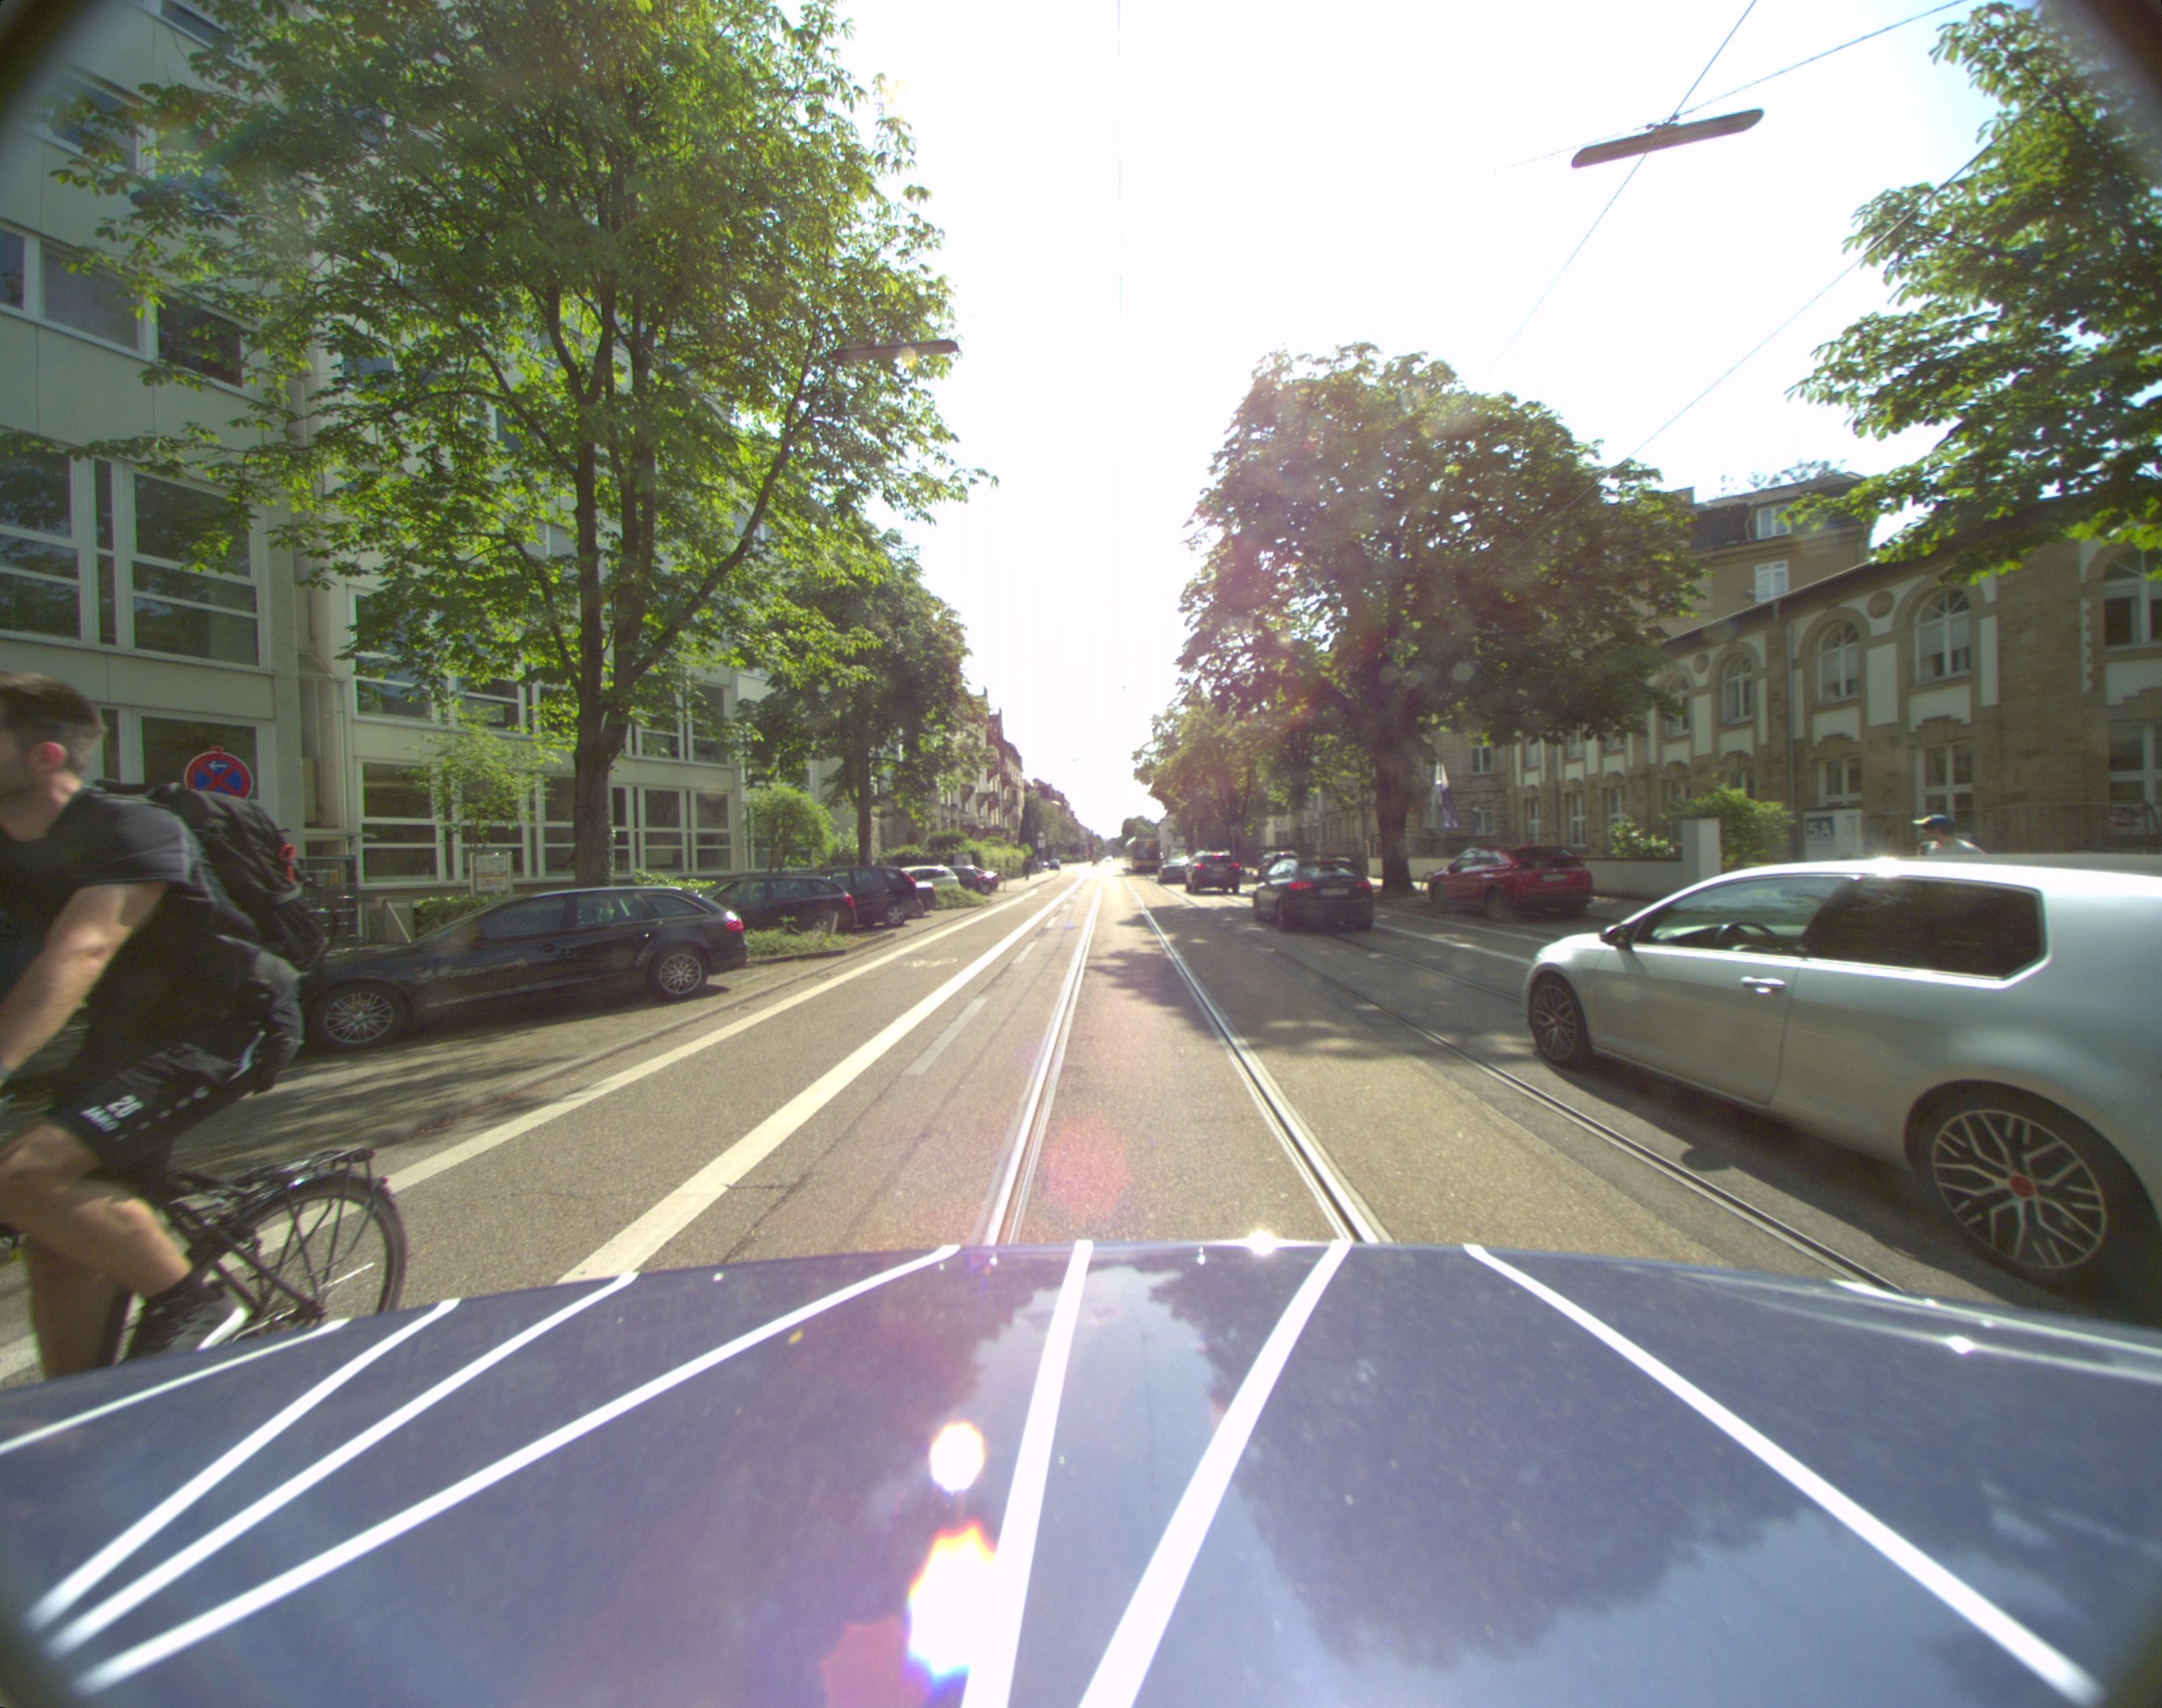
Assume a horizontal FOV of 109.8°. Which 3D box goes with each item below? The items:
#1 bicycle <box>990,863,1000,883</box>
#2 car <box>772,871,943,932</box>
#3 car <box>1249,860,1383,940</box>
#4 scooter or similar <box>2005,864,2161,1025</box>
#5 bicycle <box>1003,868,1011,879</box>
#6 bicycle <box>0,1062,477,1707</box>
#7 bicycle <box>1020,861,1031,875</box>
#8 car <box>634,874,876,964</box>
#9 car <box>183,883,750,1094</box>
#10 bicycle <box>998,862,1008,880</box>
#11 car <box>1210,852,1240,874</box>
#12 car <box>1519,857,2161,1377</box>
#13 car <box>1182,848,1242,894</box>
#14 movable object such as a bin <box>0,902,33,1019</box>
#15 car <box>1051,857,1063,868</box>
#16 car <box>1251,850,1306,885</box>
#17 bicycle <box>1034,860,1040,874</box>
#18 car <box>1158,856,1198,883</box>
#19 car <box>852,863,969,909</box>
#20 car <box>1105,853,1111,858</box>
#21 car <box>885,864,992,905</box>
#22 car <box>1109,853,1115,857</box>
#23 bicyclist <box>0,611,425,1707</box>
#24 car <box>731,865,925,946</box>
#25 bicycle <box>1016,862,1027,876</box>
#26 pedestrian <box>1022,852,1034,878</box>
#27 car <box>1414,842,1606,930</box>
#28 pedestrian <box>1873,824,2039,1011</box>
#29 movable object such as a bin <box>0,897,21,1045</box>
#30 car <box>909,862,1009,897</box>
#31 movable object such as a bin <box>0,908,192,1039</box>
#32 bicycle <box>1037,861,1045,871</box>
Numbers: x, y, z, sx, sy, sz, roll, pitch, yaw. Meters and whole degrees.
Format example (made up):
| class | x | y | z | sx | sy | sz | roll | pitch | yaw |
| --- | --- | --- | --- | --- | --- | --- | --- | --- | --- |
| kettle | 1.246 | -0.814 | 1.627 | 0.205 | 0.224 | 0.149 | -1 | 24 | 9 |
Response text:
| class | x | y | z | sx | sy | sz | roll | pitch | yaw |
| --- | --- | --- | --- | --- | --- | --- | --- | --- | --- |
| bicycle | -5.049 | 1.082 | 44.580 | 0.280 | 1.102 | 2.011 | 2 | 1 | 2 |
| car | -6.270 | 1.287 | 21.571 | 4.183 | 1.341 | 1.900 | -3 | 0 | -43 |
| car | 4.691 | 0.844 | 15.757 | 1.727 | 1.368 | 4.001 | -1 | 0 | 3 |
| scooter or similar | 9.509 | 0.769 | 6.821 | 1.342 | 1.272 | 0.855 | -3 | 1 | 1 |
| bicycle | -4.874 | 1.291 | 50.011 | 0.280 | 0.673 | 1.559 | 2 | 1 | 2 |
| bicycle | -2.226 | 1.199 | 1.465 | 0.617 | 1.039 | 1.836 | 2 | 2 | 2 |
| bicycle | -4.324 | 1.094 | 59.311 | 0.612 | 0.990 | 2.362 | 1 | 1 | 2 |
| car | -6.434 | 1.213 | 15.261 | 4.084 | 1.434 | 1.722 | -1 | -2 | -42 |
| car | -6.536 | 1.232 | 8.687 | 4.544 | 1.434 | 2.026 | -4 | 1 | -43 |
| bicycle | -4.939 | 1.050 | 48.097 | 0.280 | 1.102 | 2.011 | 2 | 1 | 2 |
| car | 11.148 | 0.676 | 59.076 | 1.658 | 1.476 | 3.808 | -3 | 1 | 1 |
| car | 4.011 | 0.760 | 3.569 | 1.777 | 1.408 | 3.852 | -1 | 1 | 2 |
| car | 5.280 | 0.685 | 31.154 | 1.830 | 1.716 | 4.393 | -1 | -1 | 2 |
| movable object such as a bin | -14.483 | 1.378 | 9.541 | 1.376 | 1.439 | 1.266 | 0 | 1 | 23 |
| car | -3.261 | 1.131 | 103.476 | 1.517 | 1.490 | 2.794 | 1 | 0 | 0 |
| car | 10.495 | 0.668 | 40.663 | 1.811 | 1.631 | 4.332 | -3 | 0 | 1 |
| bicycle | -4.043 | 1.206 | 70.520 | 0.452 | 1.253 | 1.844 | 1 | 0 | -1 |
| car | 5.295 | 0.806 | 42.015 | 1.803 | 1.380 | 4.426 | 0 | 0 | 2 |
| car | -6.287 | 1.138 | 28.290 | 4.008 | 1.452 | 1.531 | -2 | 0 | -43 |
| car | 8.350 | 0.401 | 234.348 | 1.860 | 1.455 | 4.000 | -2 | 0 | 2 |
| car | -5.887 | 1.223 | 31.670 | 4.007 | 1.440 | 1.695 | -2 | 0 | -40 |
| car | 10.145 | 0.309 | 250.207 | 1.860 | 1.455 | 4.000 | -2 | 0 | 2 |
| bicyclist | -2.233 | 0.535 | 1.576 | 0.608 | 1.937 | 1.130 | -3 | 1 | 2 |
| car | -6.129 | 1.177 | 18.625 | 4.007 | 1.565 | 1.900 | -3 | 0 | -40 |
| bicycle | -4.481 | 1.092 | 56.915 | 0.614 | 0.983 | 1.872 | 1 | 1 | 2 |
| pedestrian | -3.708 | 0.777 | 53.345 | 0.790 | 1.851 | 0.580 | 1 | 1 | -5 |
| car | 9.544 | 0.615 | 17.444 | 1.754 | 1.656 | 4.720 | -3 | 0 | 1 |
| pedestrian | 8.814 | 0.607 | 7.680 | 0.790 | 1.756 | 0.752 | -3 | 1 | -7 |
| movable object such as a bin | -11.961 | 1.258 | 7.343 | 1.278 | 1.530 | 1.469 | -2 | 1 | 2 |
| car | -5.553 | 1.127 | 34.833 | 4.168 | 1.415 | 1.861 | -1 | 0 | -40 |
| movable object such as a bin | -12.026 | 1.381 | 9.029 | 1.278 | 1.311 | 1.326 | -2 | 1 | 2 |
| bicycle | -3.989 | 1.216 | 75.499 | 0.600 | 0.955 | 3.066 | 2 | 0 | -1 |
